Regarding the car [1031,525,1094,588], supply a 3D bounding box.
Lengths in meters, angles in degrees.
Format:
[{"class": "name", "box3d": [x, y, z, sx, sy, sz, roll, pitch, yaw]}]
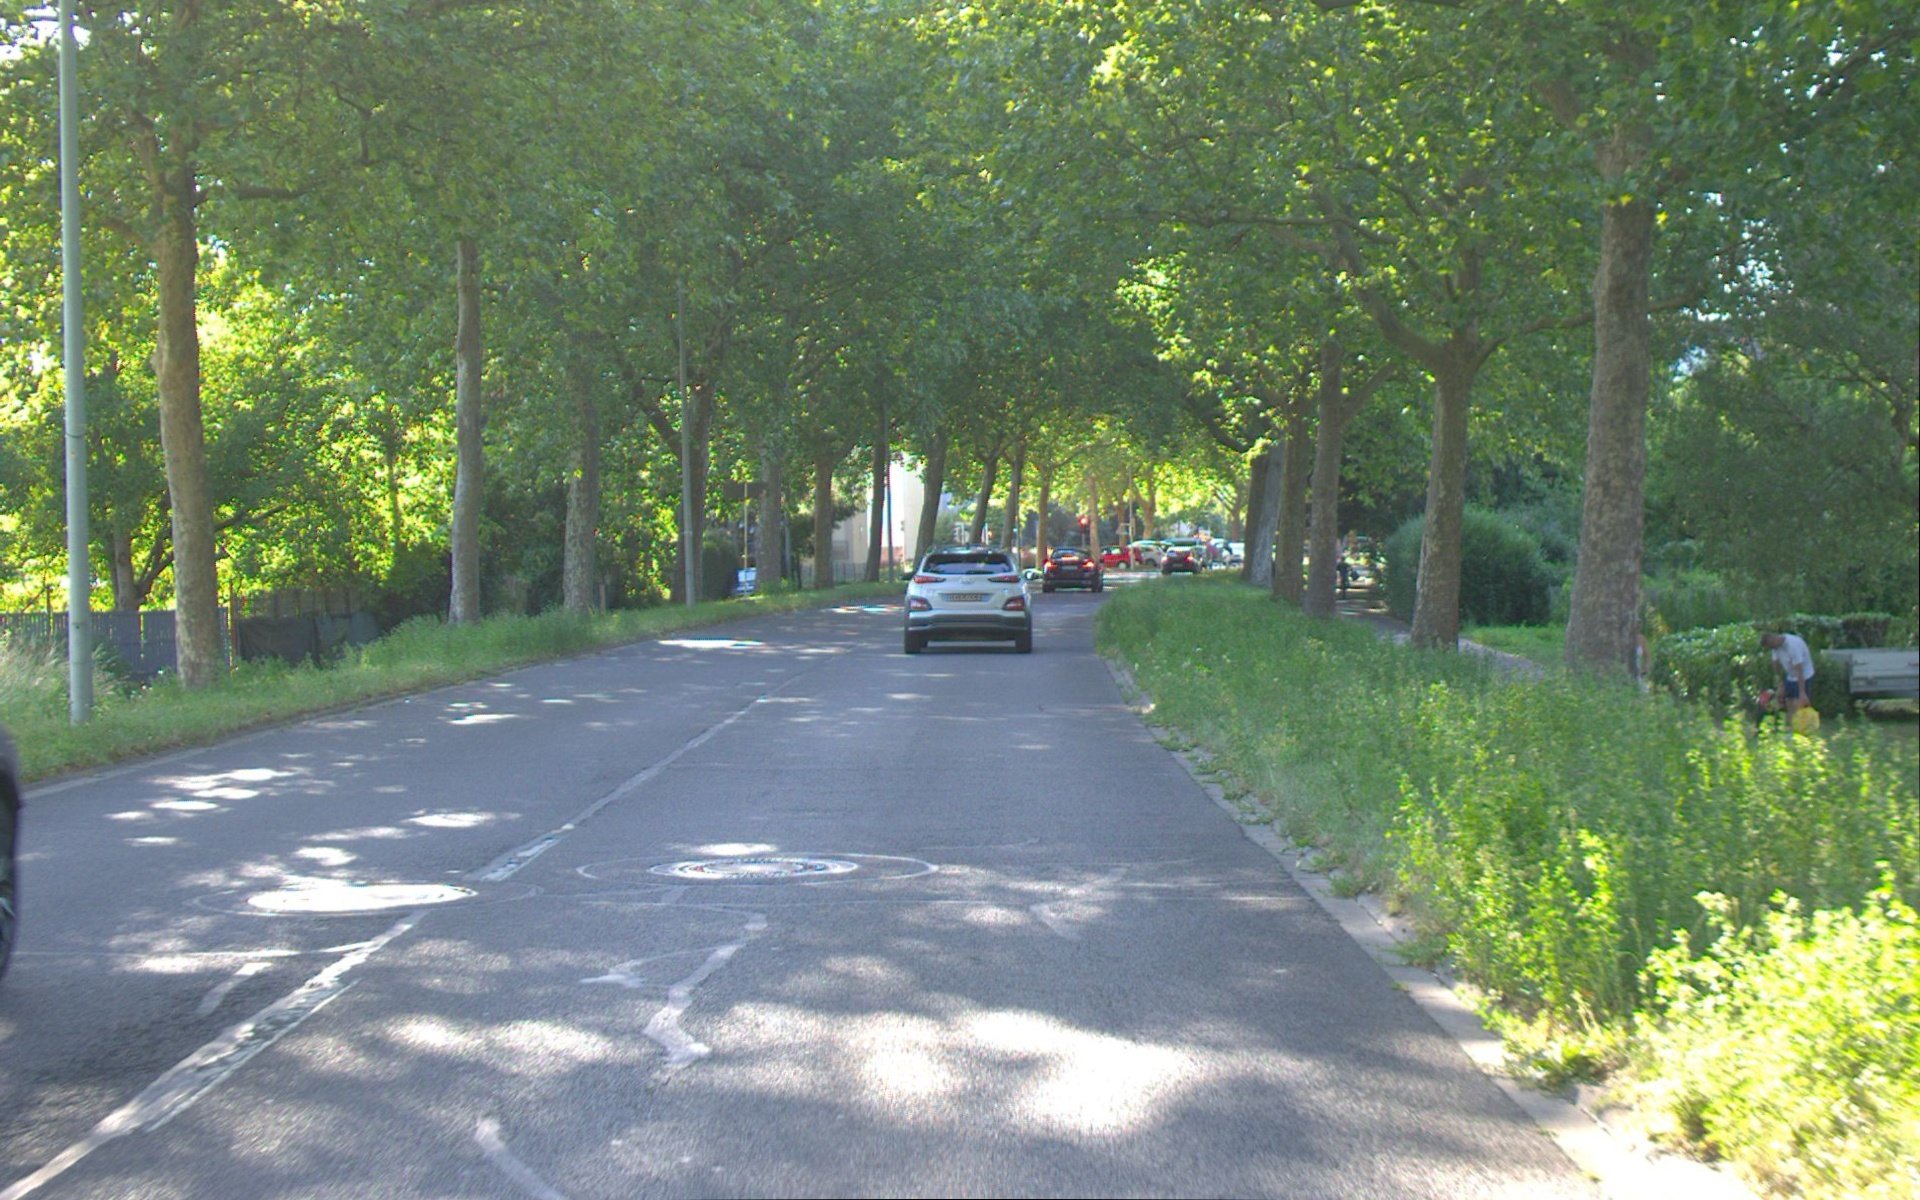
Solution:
[{"class": "car", "box3d": [3.332, -1.401, 111.464, 1.994, 2.007, 4.000, 0, 0, 2]}]

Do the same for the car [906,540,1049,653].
[{"class": "car", "box3d": [0.293, -0.064, 50.159, 1.993, 1.569, 4.000, 0, 0, 2]}]

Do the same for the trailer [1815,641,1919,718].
[{"class": "trailer", "box3d": [13.172, 1.113, 48.283, 2.118, 1.049, 1.200, 0, 0, 6]}]

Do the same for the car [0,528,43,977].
[{"class": "car", "box3d": [-4.052, 0.513, 10.009, 1.715, 1.500, 4.000, 0, 0, 0]}]

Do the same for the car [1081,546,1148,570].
[{"class": "car", "box3d": [9.689, -2.656, 215.106, 3.988, 1.473, 1.999, 0, 0, 9]}]

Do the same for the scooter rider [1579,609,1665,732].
[{"class": "scooter rider", "box3d": [8.662, 0.912, 44.983, 0.784, 1.571, 0.843, 0, 0, 42]}]

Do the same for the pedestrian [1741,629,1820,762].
[{"class": "pedestrian", "box3d": [9.971, 1.145, 41.816, 0.842, 1.571, 1.206, 0, 0, 10]}]

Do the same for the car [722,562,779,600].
[{"class": "car", "box3d": [-7.911, -0.730, 130.109, 1.752, 1.300, 4.000, -2, 2, 2]}]

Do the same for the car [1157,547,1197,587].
[{"class": "car", "box3d": [11.057, -1.651, 175.081, 1.994, 2.007, 4.000, 0, 0, 3]}]

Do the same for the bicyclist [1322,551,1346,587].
[{"class": "bicyclist", "box3d": [13.971, -1.162, 128.444, 0.734, 1.361, 0.771, 0, 0, -9]}]

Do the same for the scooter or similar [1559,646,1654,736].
[{"class": "scooter or similar", "box3d": [8.449, 1.177, 44.892, 1.595, 1.131, 0.340, 0, 0, -43]}]
